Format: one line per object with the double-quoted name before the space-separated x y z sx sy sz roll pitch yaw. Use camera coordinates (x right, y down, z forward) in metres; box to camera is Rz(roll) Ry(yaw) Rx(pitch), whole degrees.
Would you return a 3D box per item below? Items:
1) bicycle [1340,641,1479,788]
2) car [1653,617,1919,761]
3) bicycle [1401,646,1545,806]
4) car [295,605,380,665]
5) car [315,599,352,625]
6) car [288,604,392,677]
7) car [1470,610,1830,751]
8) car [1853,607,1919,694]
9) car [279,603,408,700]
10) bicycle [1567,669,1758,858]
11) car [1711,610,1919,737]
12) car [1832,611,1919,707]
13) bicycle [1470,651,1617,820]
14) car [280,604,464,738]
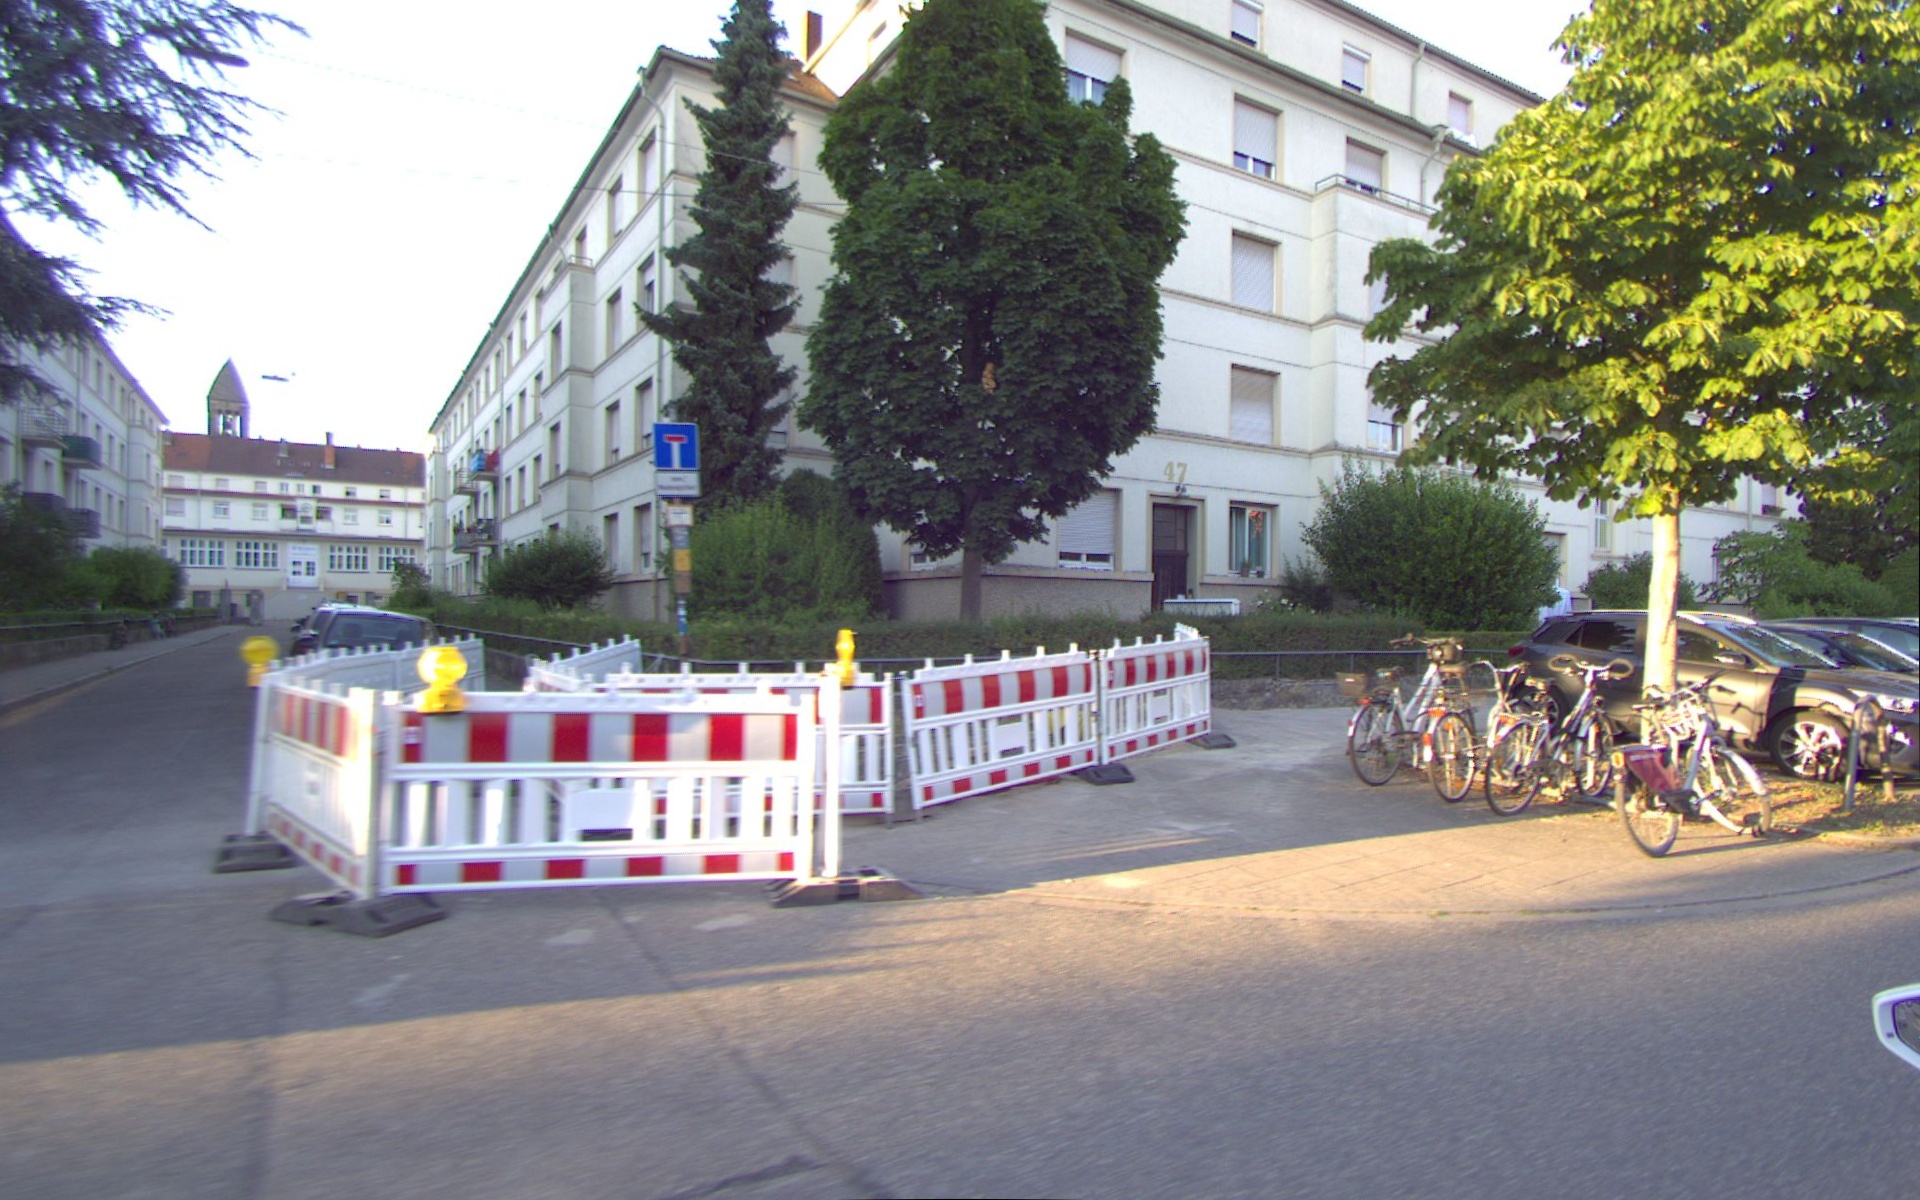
"bicycle" 3.892 0.946 8.654 1.509 1.173 0.277 1 0 -31
"car" 10.406 0.971 11.440 1.587 1.403 3.826 1 1 -28
"bicycle" 4.141 0.971 8.065 1.509 1.173 0.277 1 0 -31
"car" -16.570 0.898 26.774 1.768 1.447 3.719 3 -2 -32
"car" -37.251 0.703 59.733 1.768 1.447 3.719 3 -2 -32
"car" -13.660 0.860 22.171 1.768 1.447 3.595 3 -2 -32
"car" 8.758 0.913 13.038 1.740 1.462 3.427 1 1 -28
"car" 18.074 0.938 17.274 1.706 1.504 3.684 1 1 -28
"car" -10.635 0.838 17.364 1.668 1.480 3.719 3 -2 -32
"bicycle" 4.779 1.050 6.802 1.610 1.110 0.444 1 0 -31
"car" 12.458 0.945 13.011 1.706 1.504 4.015 1 1 -28
"car" 16.578 0.990 15.426 1.706 1.504 4.489 1 1 -28
"bicycle" 4.461 0.989 7.644 1.509 1.173 0.277 1 0 -31
"car" -7.695 0.835 13.136 1.768 1.480 3.719 3 -2 -32
